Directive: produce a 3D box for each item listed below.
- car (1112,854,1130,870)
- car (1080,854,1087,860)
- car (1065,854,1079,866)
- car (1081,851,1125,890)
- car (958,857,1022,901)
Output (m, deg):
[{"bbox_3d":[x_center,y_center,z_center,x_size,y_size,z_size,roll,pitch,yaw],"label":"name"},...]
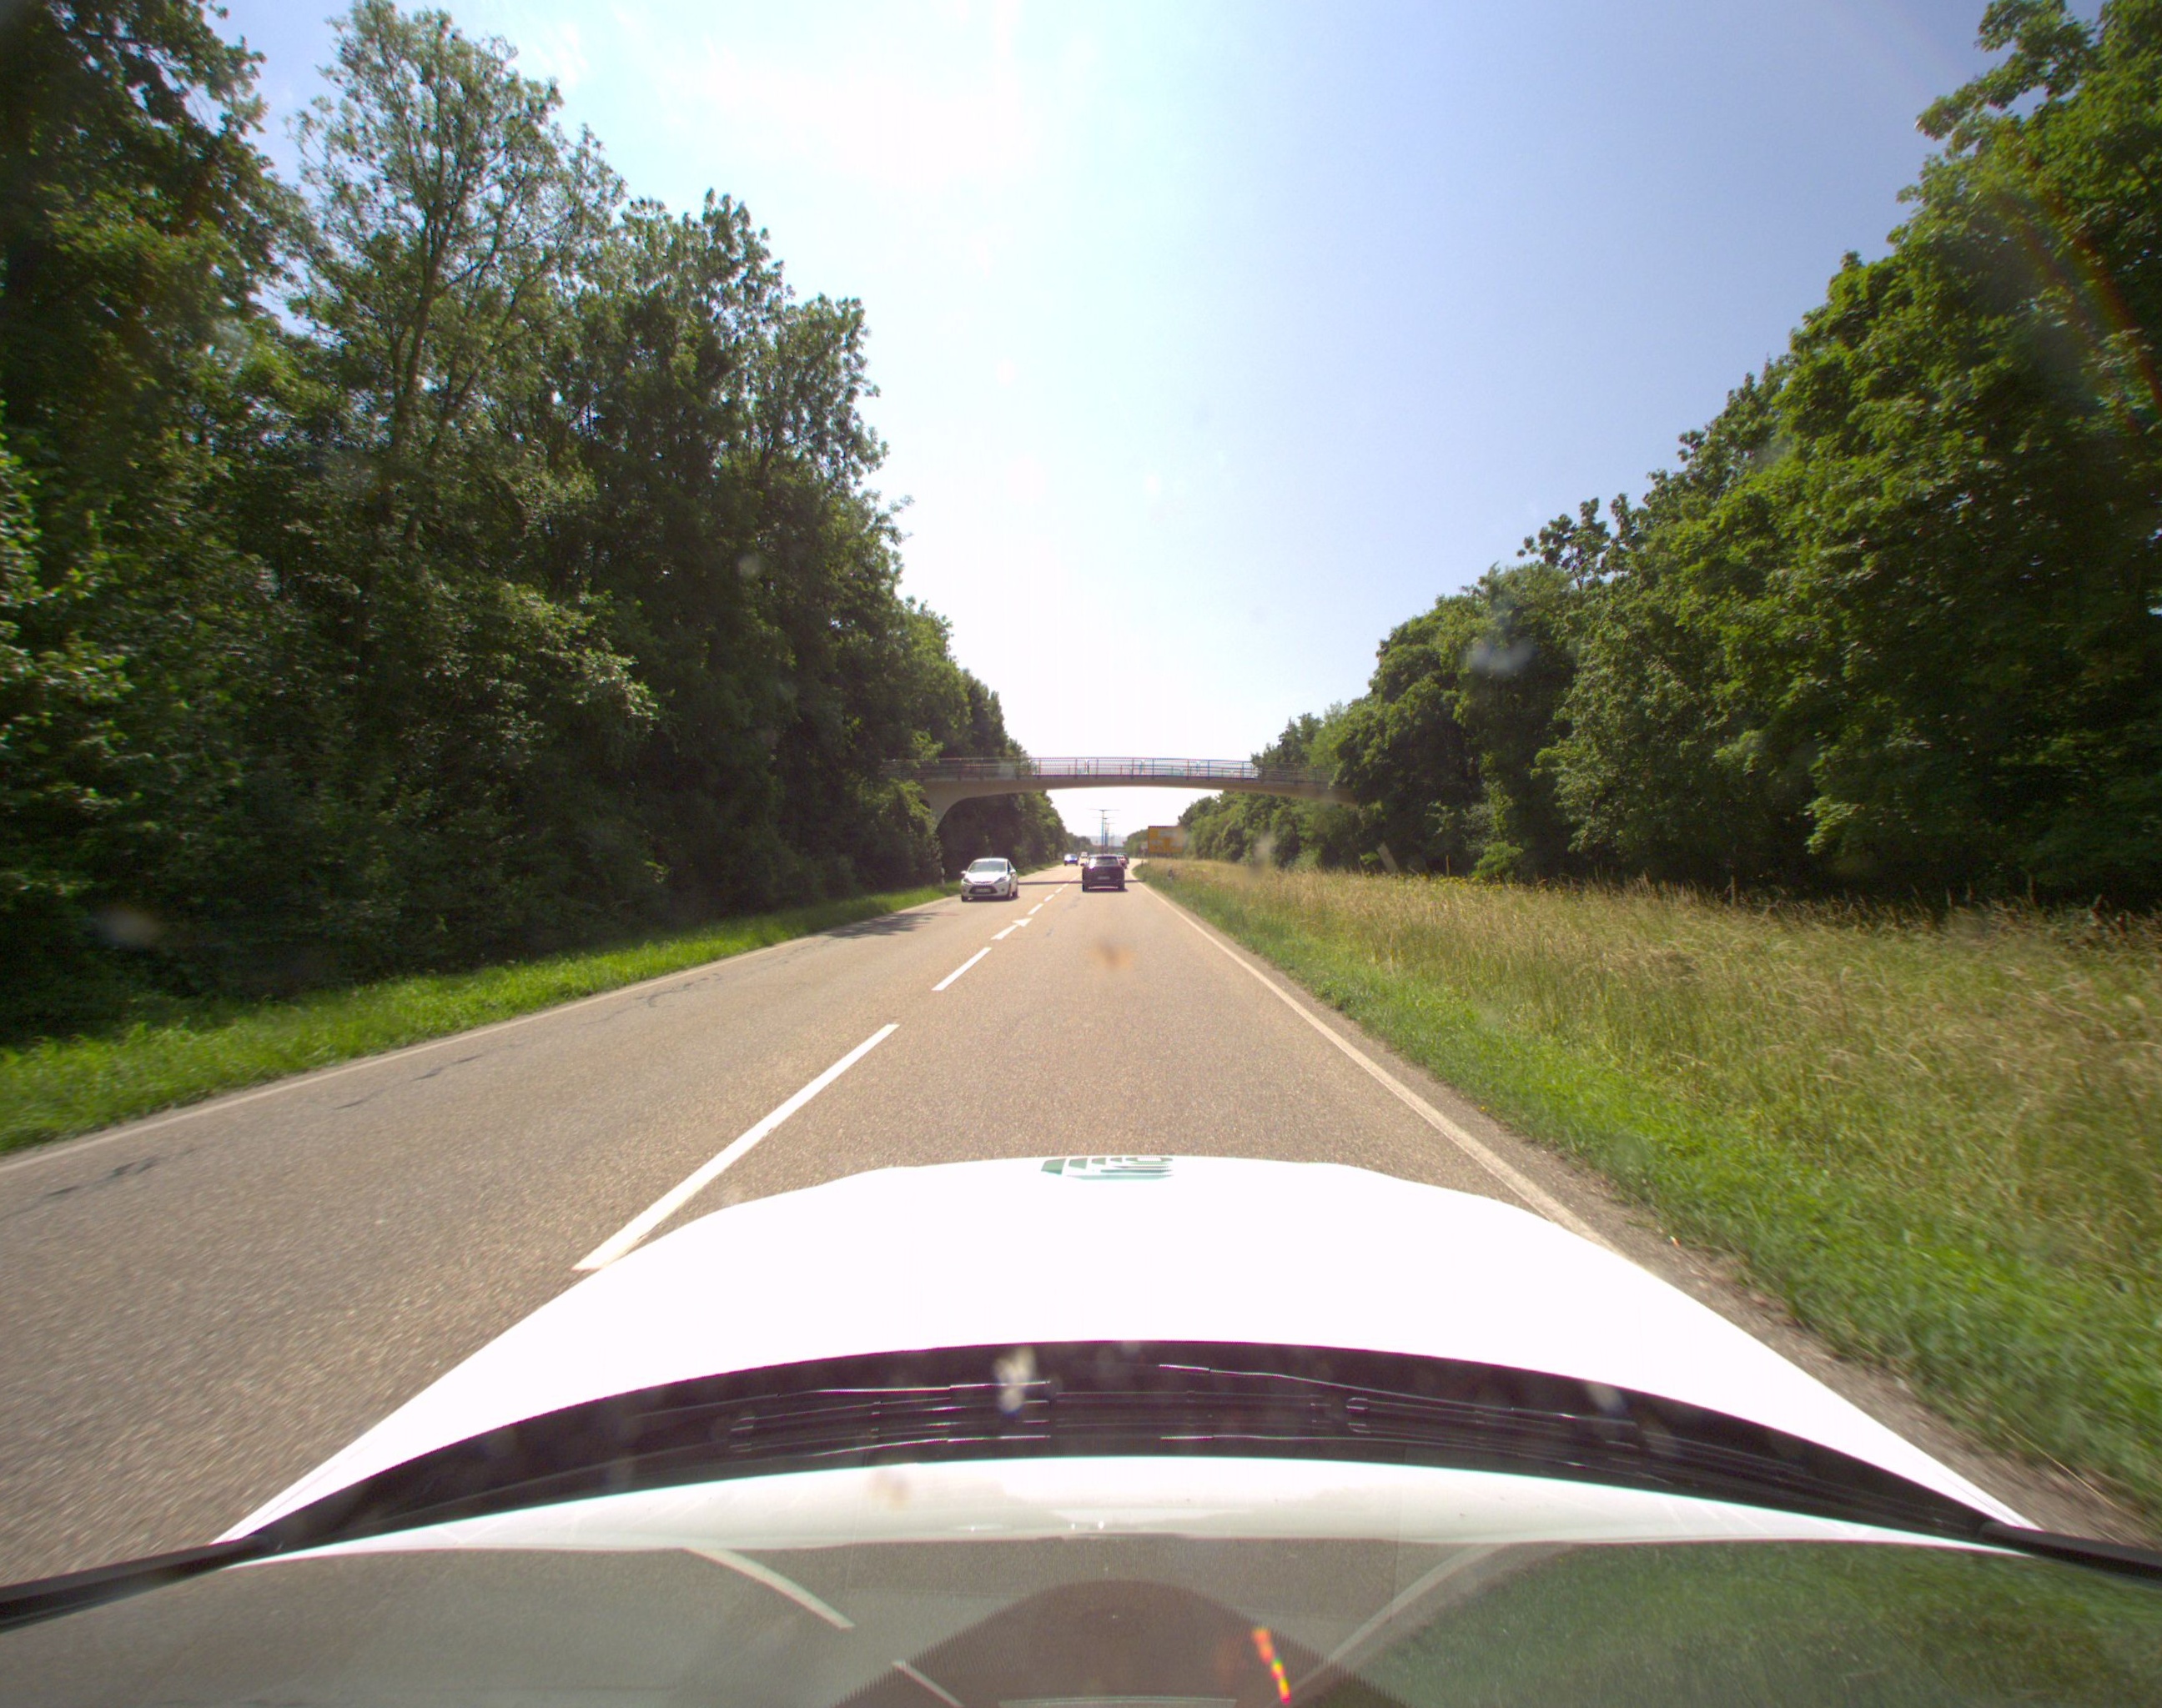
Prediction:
[{"bbox_3d":[4.251,0.812,86.590,1.789,1.583,4.003,-1,0,3],"label":"car"},{"bbox_3d":[0.739,0.831,226.343,1.725,1.688,4.096,-1,0,1],"label":"car"},{"bbox_3d":[-1.299,0.814,116.759,1.816,1.590,4.421,-2,0,2],"label":"car"},{"bbox_3d":[0.984,0.667,34.884,1.748,1.556,4.003,0,0,3],"label":"car"},{"bbox_3d":[-3.181,0.834,29.156,1.671,1.433,3.775,-1,0,3],"label":"car"}]
